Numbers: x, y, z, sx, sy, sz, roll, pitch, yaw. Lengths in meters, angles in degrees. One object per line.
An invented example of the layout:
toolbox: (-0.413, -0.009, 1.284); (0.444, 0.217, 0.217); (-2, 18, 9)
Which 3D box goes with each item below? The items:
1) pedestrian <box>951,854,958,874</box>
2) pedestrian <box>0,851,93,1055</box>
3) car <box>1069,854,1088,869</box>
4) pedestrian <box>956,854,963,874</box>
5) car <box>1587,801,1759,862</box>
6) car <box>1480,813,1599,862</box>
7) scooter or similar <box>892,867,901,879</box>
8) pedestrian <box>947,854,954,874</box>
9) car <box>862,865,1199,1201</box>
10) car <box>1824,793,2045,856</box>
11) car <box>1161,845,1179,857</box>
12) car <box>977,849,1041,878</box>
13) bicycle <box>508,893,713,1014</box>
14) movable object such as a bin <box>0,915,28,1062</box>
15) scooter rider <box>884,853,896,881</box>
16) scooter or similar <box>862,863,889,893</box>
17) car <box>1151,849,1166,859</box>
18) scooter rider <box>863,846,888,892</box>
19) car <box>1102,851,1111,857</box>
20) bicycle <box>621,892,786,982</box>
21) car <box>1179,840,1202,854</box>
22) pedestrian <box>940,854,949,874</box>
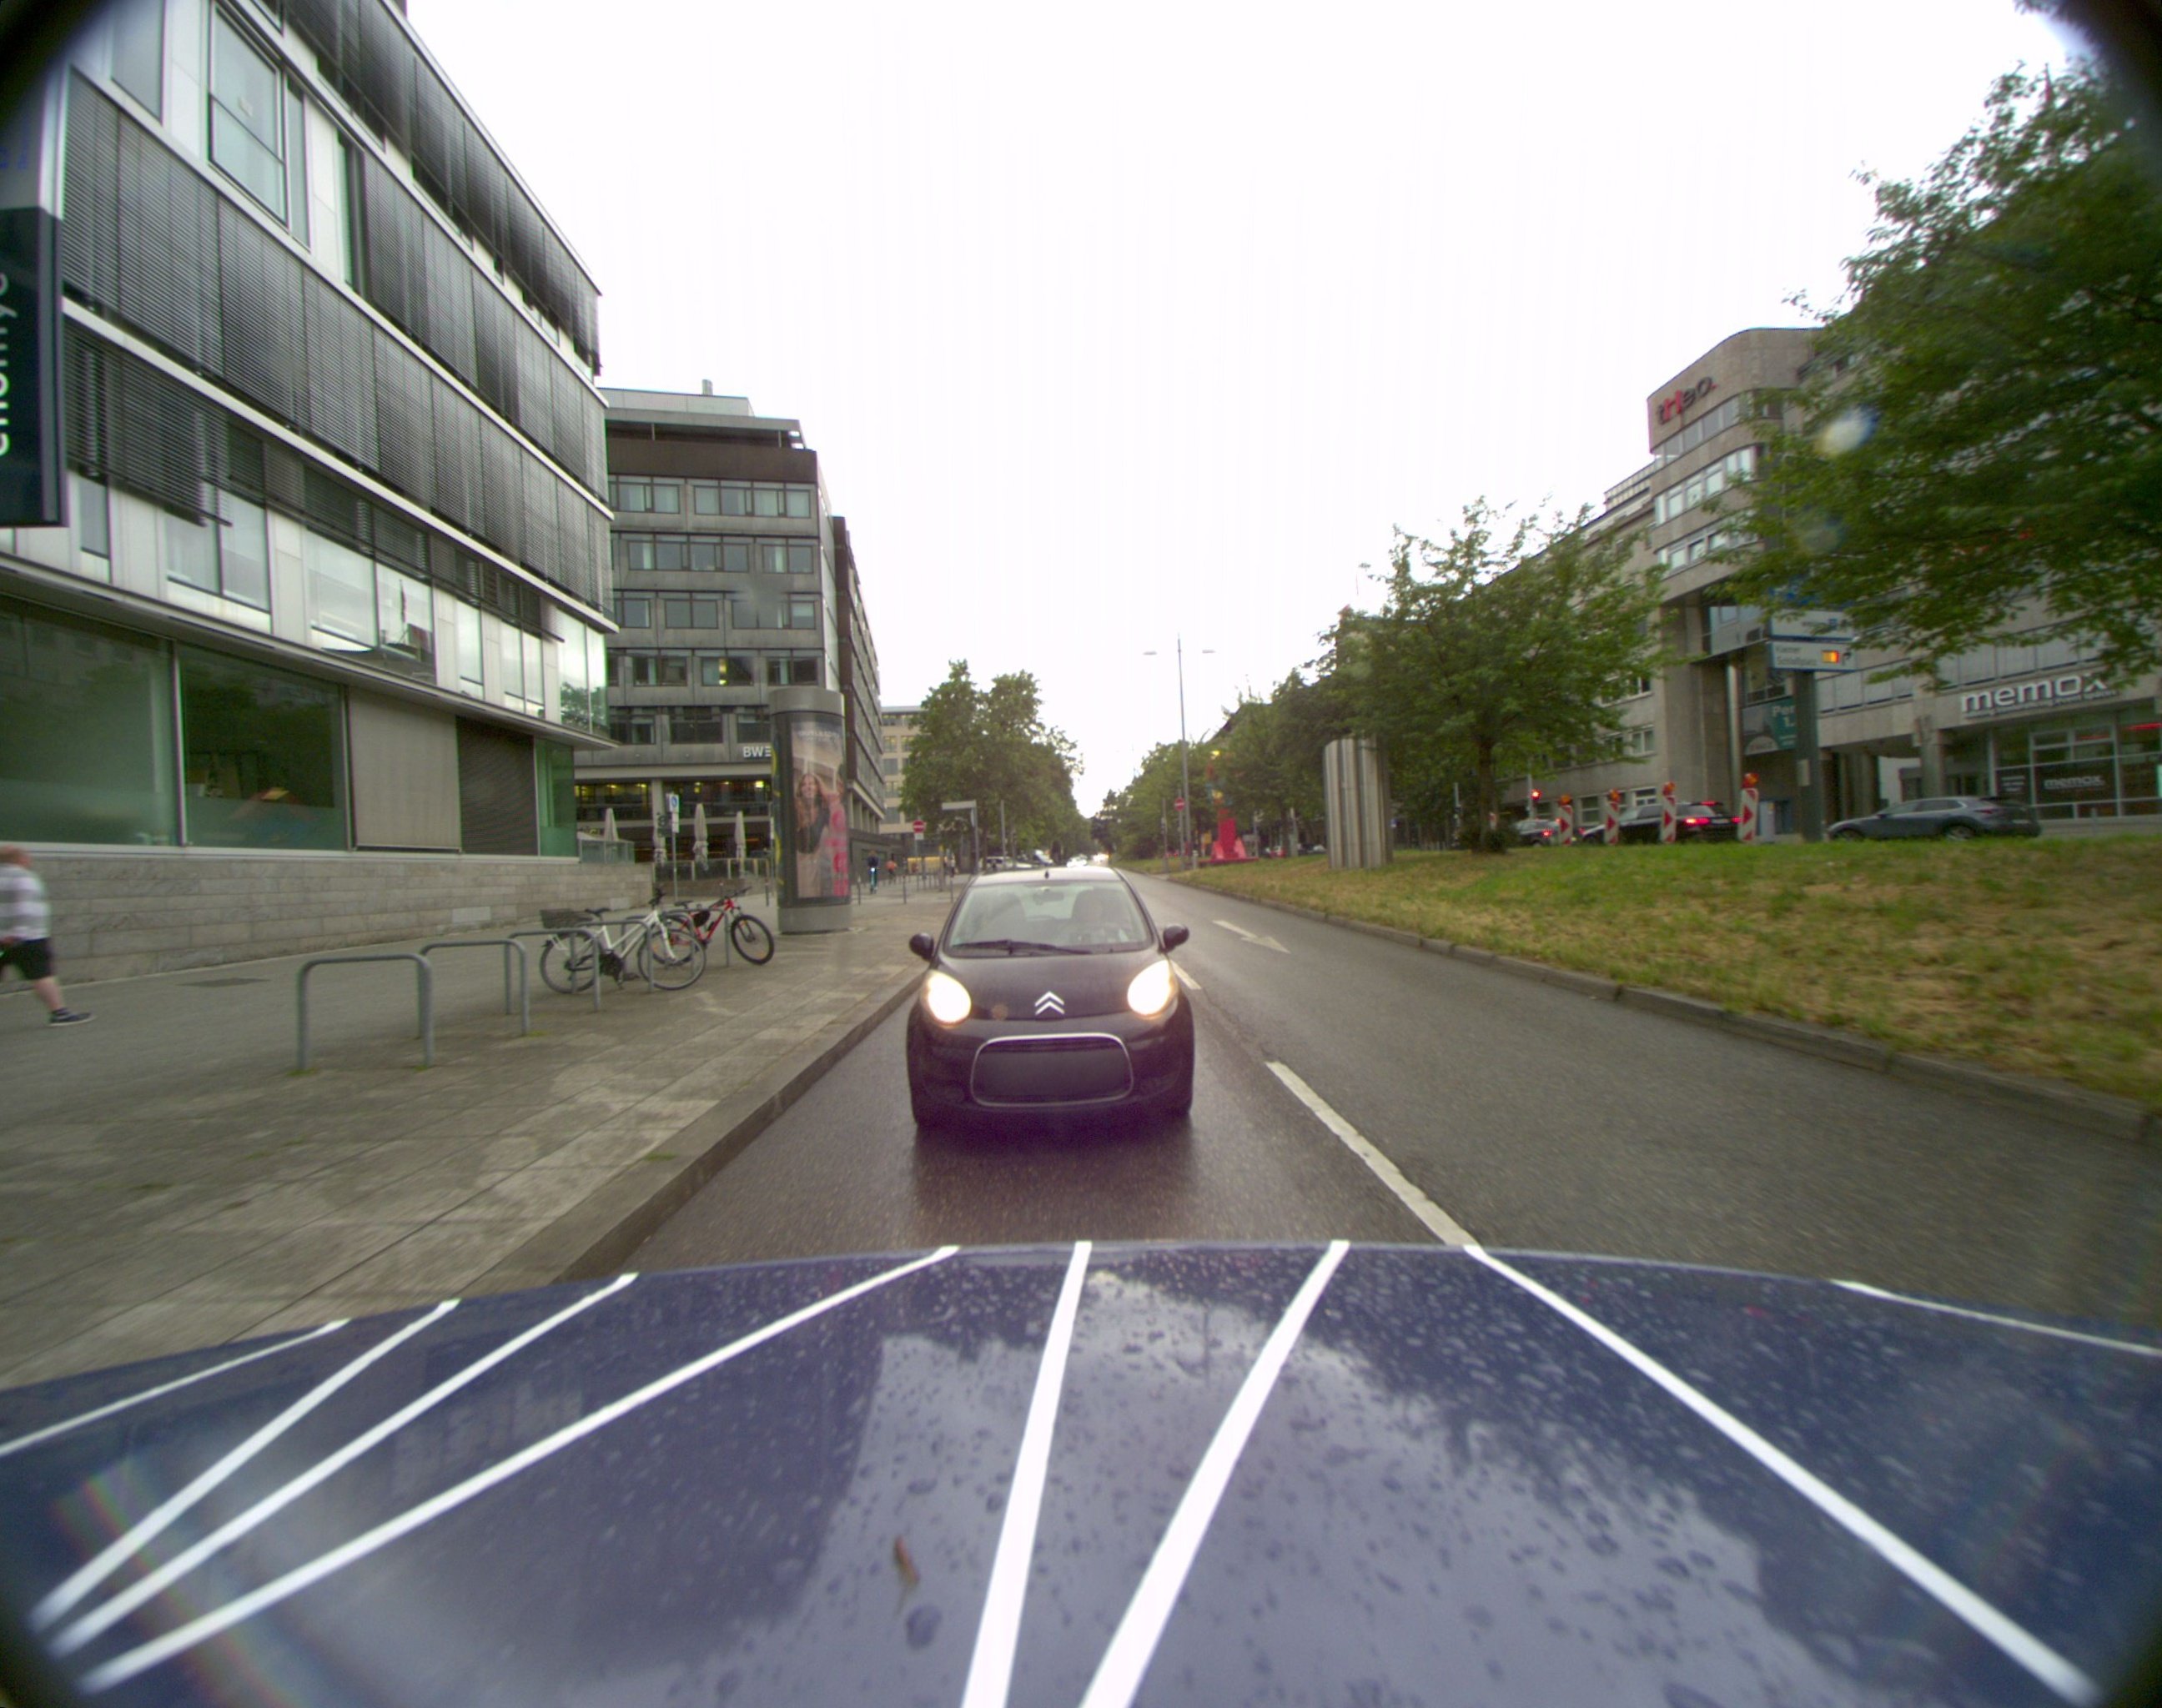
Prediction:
pedestrian: (-10.690, 0.830, 64.418); (0.452, 1.692, 0.497); (-2, 2, -2)
pedestrian: (-10.080, 0.894, 7.059); (0.724, 1.820, 0.746); (-1, 1, -5)
car: (-0.366, 0.870, 93.691); (2.073, 1.578, 4.106); (-5, 1, -3)
pedestrian: (-10.314, 0.815, 64.491); (0.452, 1.692, 0.497); (-2, 2, -2)
car: (17.890, -0.649, 23.257); (1.880, 1.571, 4.106); (-5, 1, -3)
car: (17.450, -0.606, 29.169); (1.880, 1.571, 4.106); (-5, 1, -3)
scooter or similar: (-13.287, 1.376, 54.870); (0.408, 0.768, 1.276); (-2, 1, -5)
pedestrian: (-11.144, 0.842, 64.736); (0.452, 1.692, 0.547); (-2, 2, -2)
car: (-0.290, 0.910, 5.613); (1.595, 1.501, 3.708); (-3, 1, -2)
car: (24.766, -0.786, 22.299); (1.575, 1.571, 4.104); (-5, 1, -7)
car: (13.744, -0.491, 117.309); (2.073, 1.578, 4.106); (-5, 1, -3)
car: (-5.311, 0.713, 56.077); (4.202, 1.802, 2.003); (-4, 1, 32)
bicycle: (-5.227, 1.084, 8.547); (1.797, 1.200, 0.669); (-1, 1, -9)
movable object such as a bin: (-9.700, 1.183, 5.817); (0.805, 1.258, 1.787); (-1, 1, -5)
scooter rider: (-13.722, 0.940, 54.718); (0.627, 2.013, 0.854); (-2, 1, -5)
scooter or similar: (-9.376, 1.067, 34.717); (0.780, 1.298, 1.335); (-2, 1, 1)
car: (13.763, -0.025, 135.444); (2.073, 1.578, 4.106); (-5, 1, -3)
scooter rider: (-9.391, 0.670, 34.725); (0.780, 2.009, 0.924); (-2, 1, 1)
car: (6.682, -0.012, 199.732); (1.799, 1.501, 4.498); (-3, 1, -2)
bicycle: (-5.112, 1.116, 10.381); (1.876, 1.103, 0.669); (-1, 1, -2)
car: (13.904, -0.827, 96.493); (2.073, 1.578, 4.106); (-5, 1, -3)
pedestrian: (-11.612, 0.862, 64.599); (0.552, 1.692, 0.547); (-2, 2, -2)
